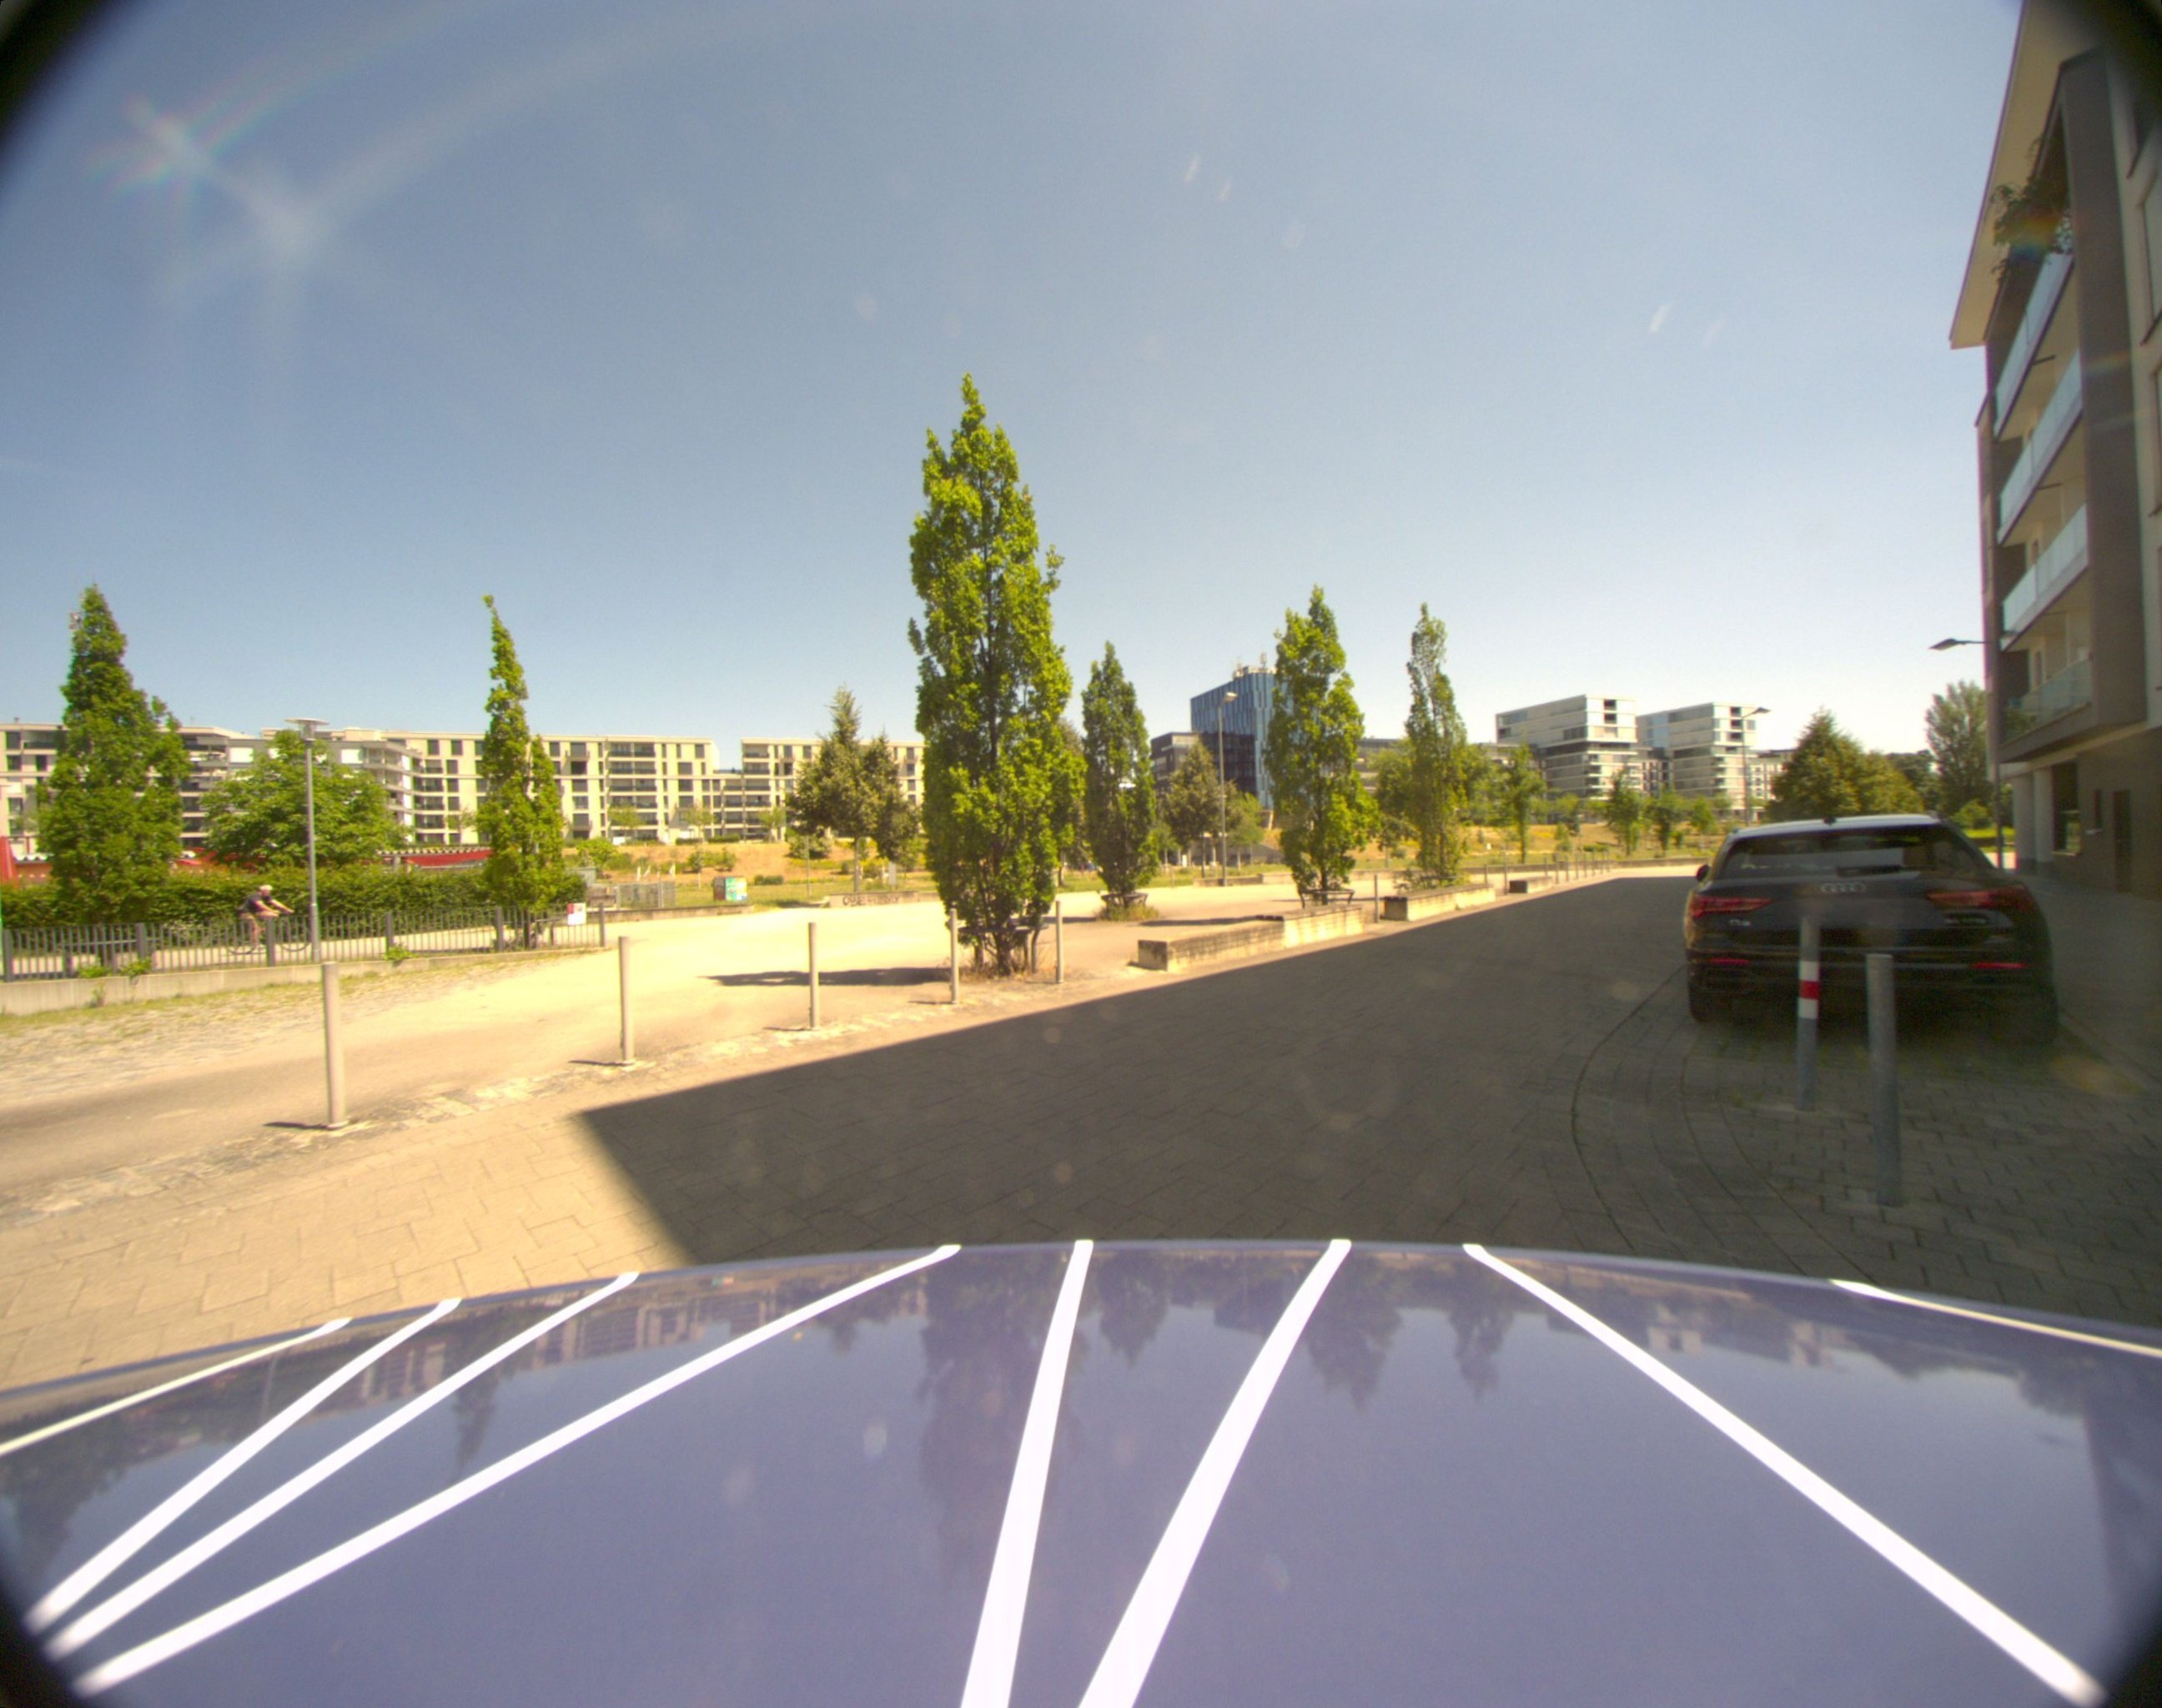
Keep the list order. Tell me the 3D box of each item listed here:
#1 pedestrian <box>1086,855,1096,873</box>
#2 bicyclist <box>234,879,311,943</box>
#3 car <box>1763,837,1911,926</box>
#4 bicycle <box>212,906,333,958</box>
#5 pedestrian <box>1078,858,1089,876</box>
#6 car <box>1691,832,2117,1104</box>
[{"bbox_3d":[0.982,1.013,75.350,0.813,1.717,0.616,-2,0,22],"label":"pedestrian"},{"bbox_3d":[-19.687,1.366,18.527,0.883,1.447,0.859,-2,0,-6],"label":"bicyclist"},{"bbox_3d":[14.707,0.481,14.927,1.784,1.496,4.123,-4,-2,43],"label":"car"},{"bbox_3d":[-19.686,1.887,18.536,1.914,1.111,0.798,-2,0,-7],"label":"bicycle"},{"bbox_3d":[0.242,1.207,70.434,0.813,1.717,0.616,-2,0,22],"label":"pedestrian"},{"bbox_3d":[6.530,0.646,6.445,1.775,1.510,4.405,-4,-2,42],"label":"car"}]
